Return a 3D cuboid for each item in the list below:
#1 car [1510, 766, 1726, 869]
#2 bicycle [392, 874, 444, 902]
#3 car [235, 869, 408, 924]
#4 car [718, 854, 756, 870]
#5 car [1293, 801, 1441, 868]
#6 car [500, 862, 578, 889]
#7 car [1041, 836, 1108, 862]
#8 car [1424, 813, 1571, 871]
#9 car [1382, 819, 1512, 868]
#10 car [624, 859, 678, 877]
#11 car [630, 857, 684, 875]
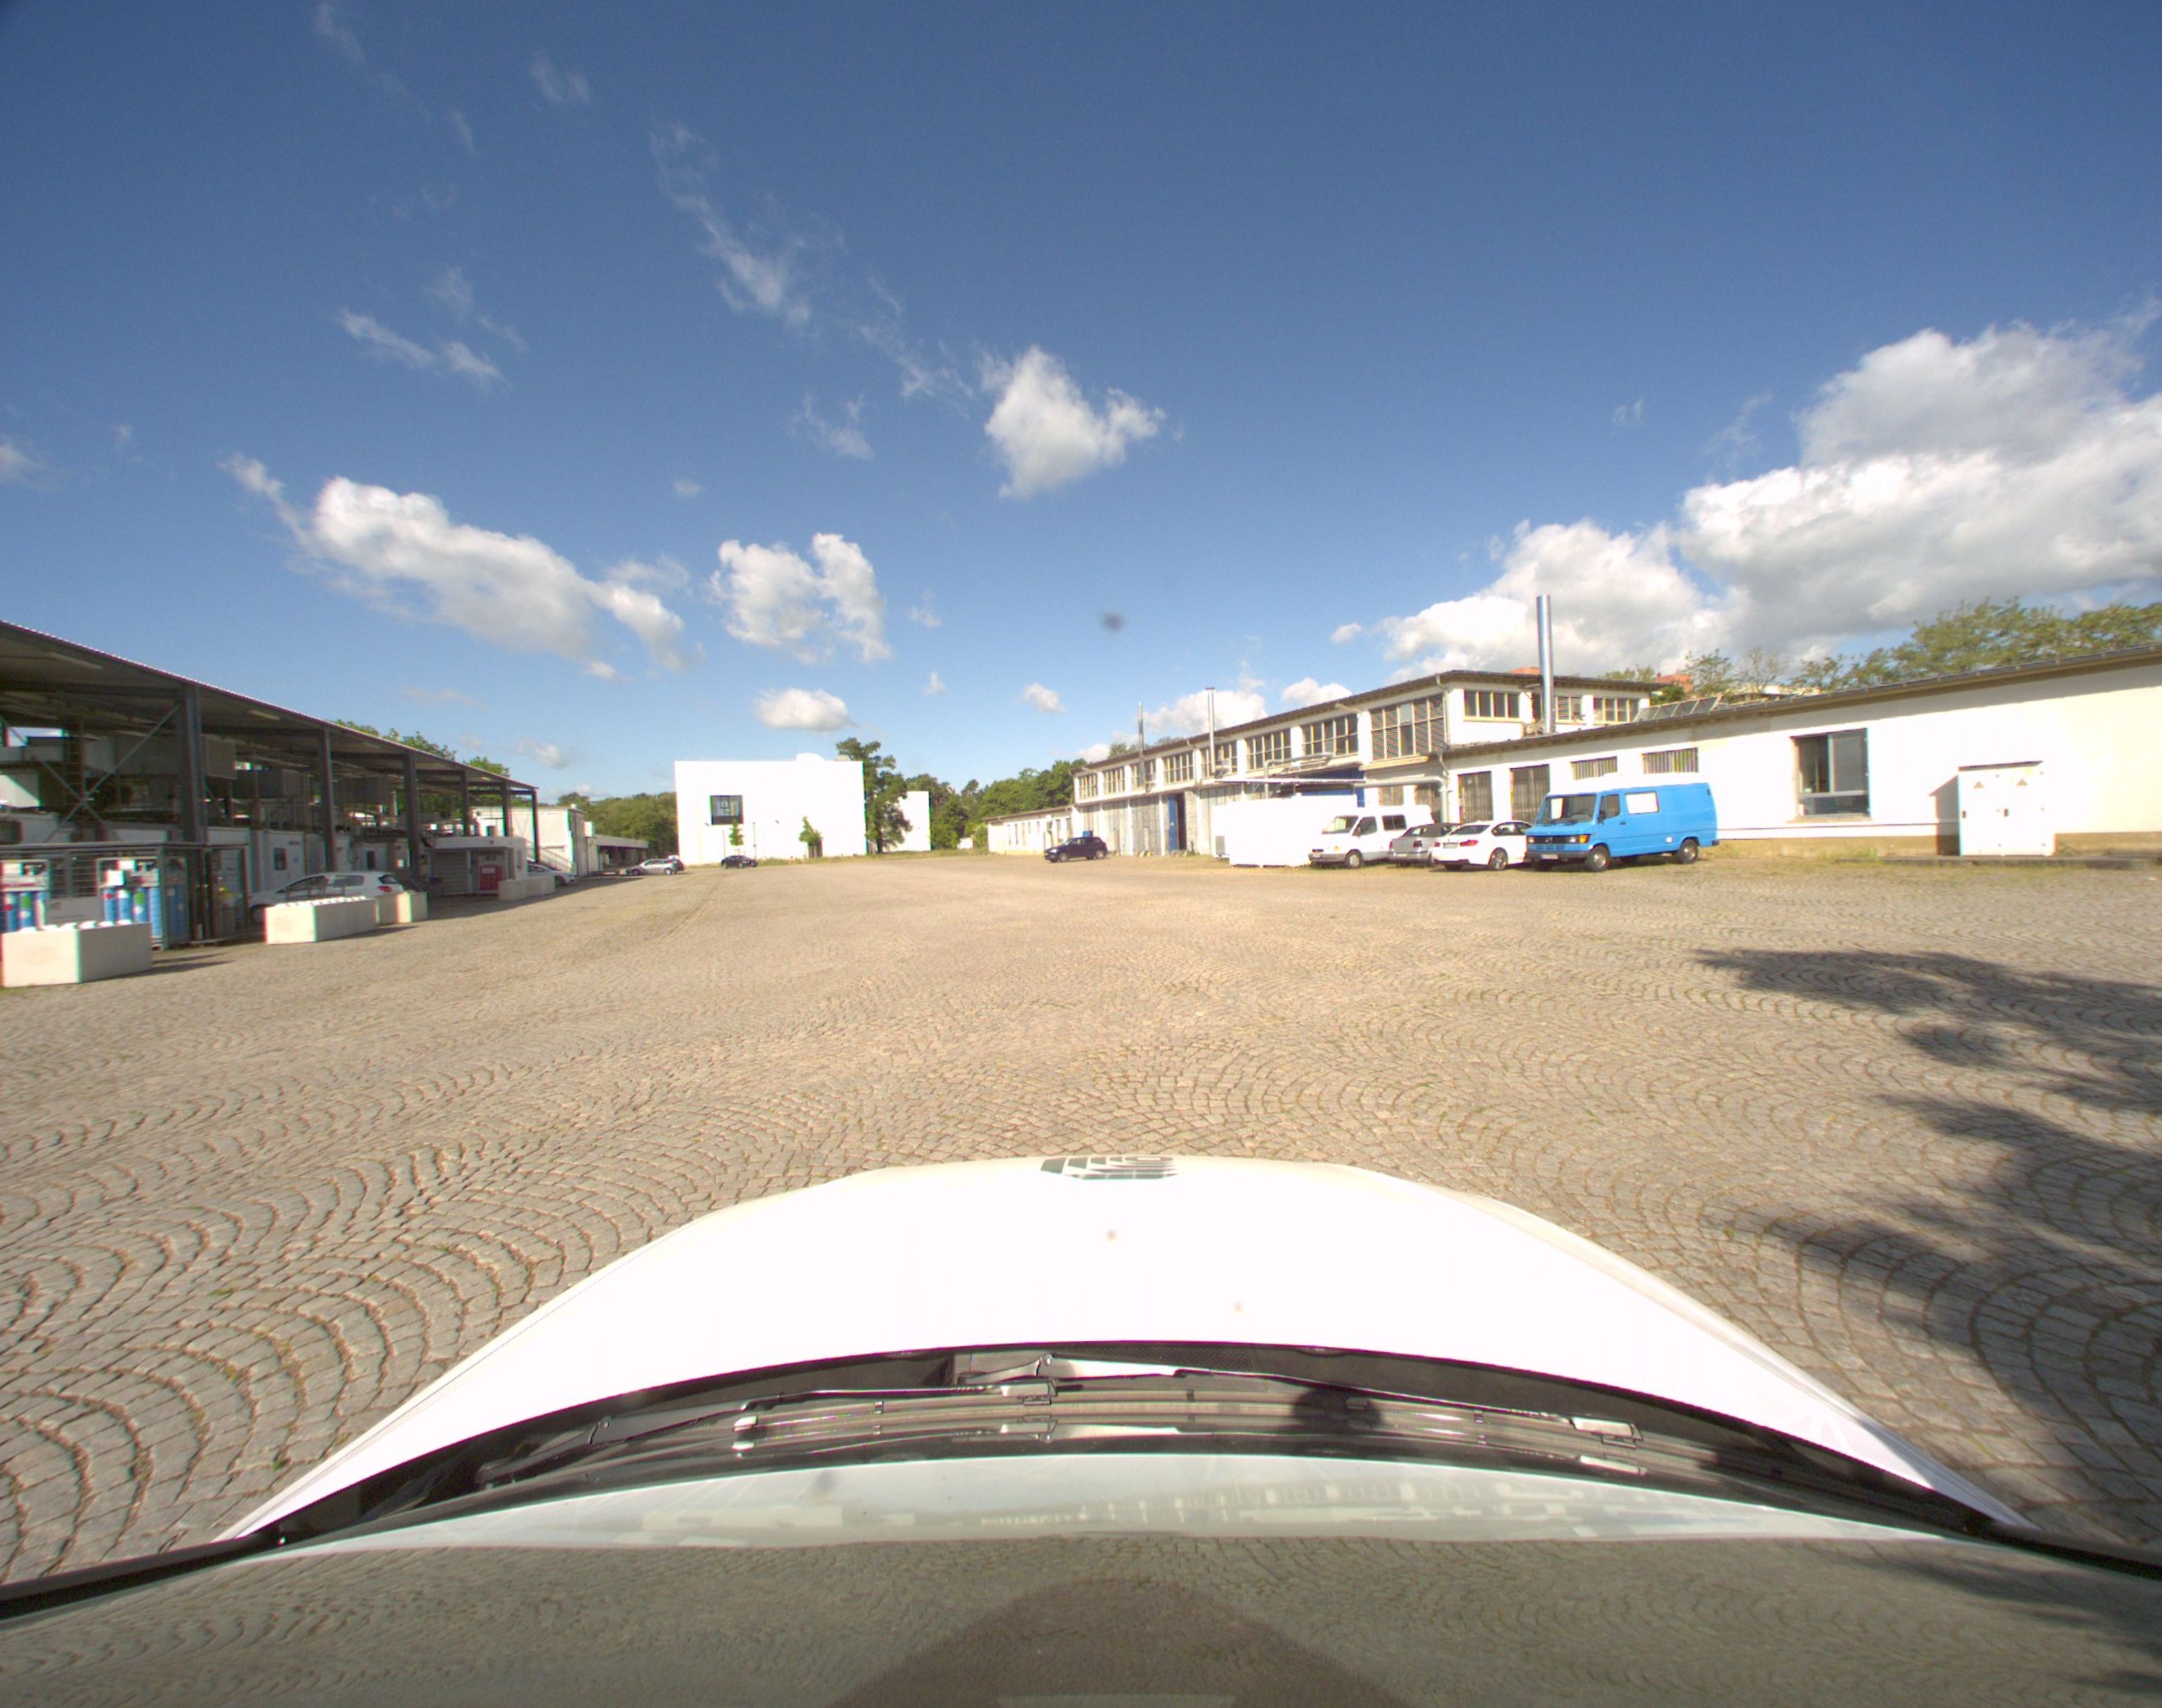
[{"bbox_3d":[14.406,-0.994,21.862,5.239,2.483,2.076,-3,1,-20],"label":"car"},{"bbox_3d":[-29.773,1.513,36.585,1.674,1.136,0.481,-3,1,-25],"label":"bicycle"},{"bbox_3d":[-23.075,1.253,24.908,3.481,1.375,1.597,-3,1,-26],"label":"car"},{"bbox_3d":[-36.496,0.848,86.478,4.023,1.429,1.752,-2,1,35],"label":"car"},{"bbox_3d":[10.292,-0.717,29.334,4.806,2.081,1.996,-4,1,-20],"label":"car"},{"bbox_3d":[-33.381,1.304,50.278,3.705,1.408,1.661,-3,1,-26],"label":"car"},{"bbox_3d":[-0.426,-0.314,54.535,4.083,1.469,1.727,-4,1,-24],"label":"car"},{"bbox_3d":[12.237,-0.353,23.956,3.740,1.405,1.726,-4,1,-20],"label":"car"},{"bbox_3d":[12.077,-0.377,26.917,3.832,1.398,1.681,-3,1,-20],"label":"car"},{"bbox_3d":[-39.233,1.238,74.339,4.194,1.403,1.727,-3,1,-24],"label":"car"},{"bbox_3d":[-40.253,1.155,77.400,4.365,1.469,1.727,-3,1,-24],"label":"car"}]
